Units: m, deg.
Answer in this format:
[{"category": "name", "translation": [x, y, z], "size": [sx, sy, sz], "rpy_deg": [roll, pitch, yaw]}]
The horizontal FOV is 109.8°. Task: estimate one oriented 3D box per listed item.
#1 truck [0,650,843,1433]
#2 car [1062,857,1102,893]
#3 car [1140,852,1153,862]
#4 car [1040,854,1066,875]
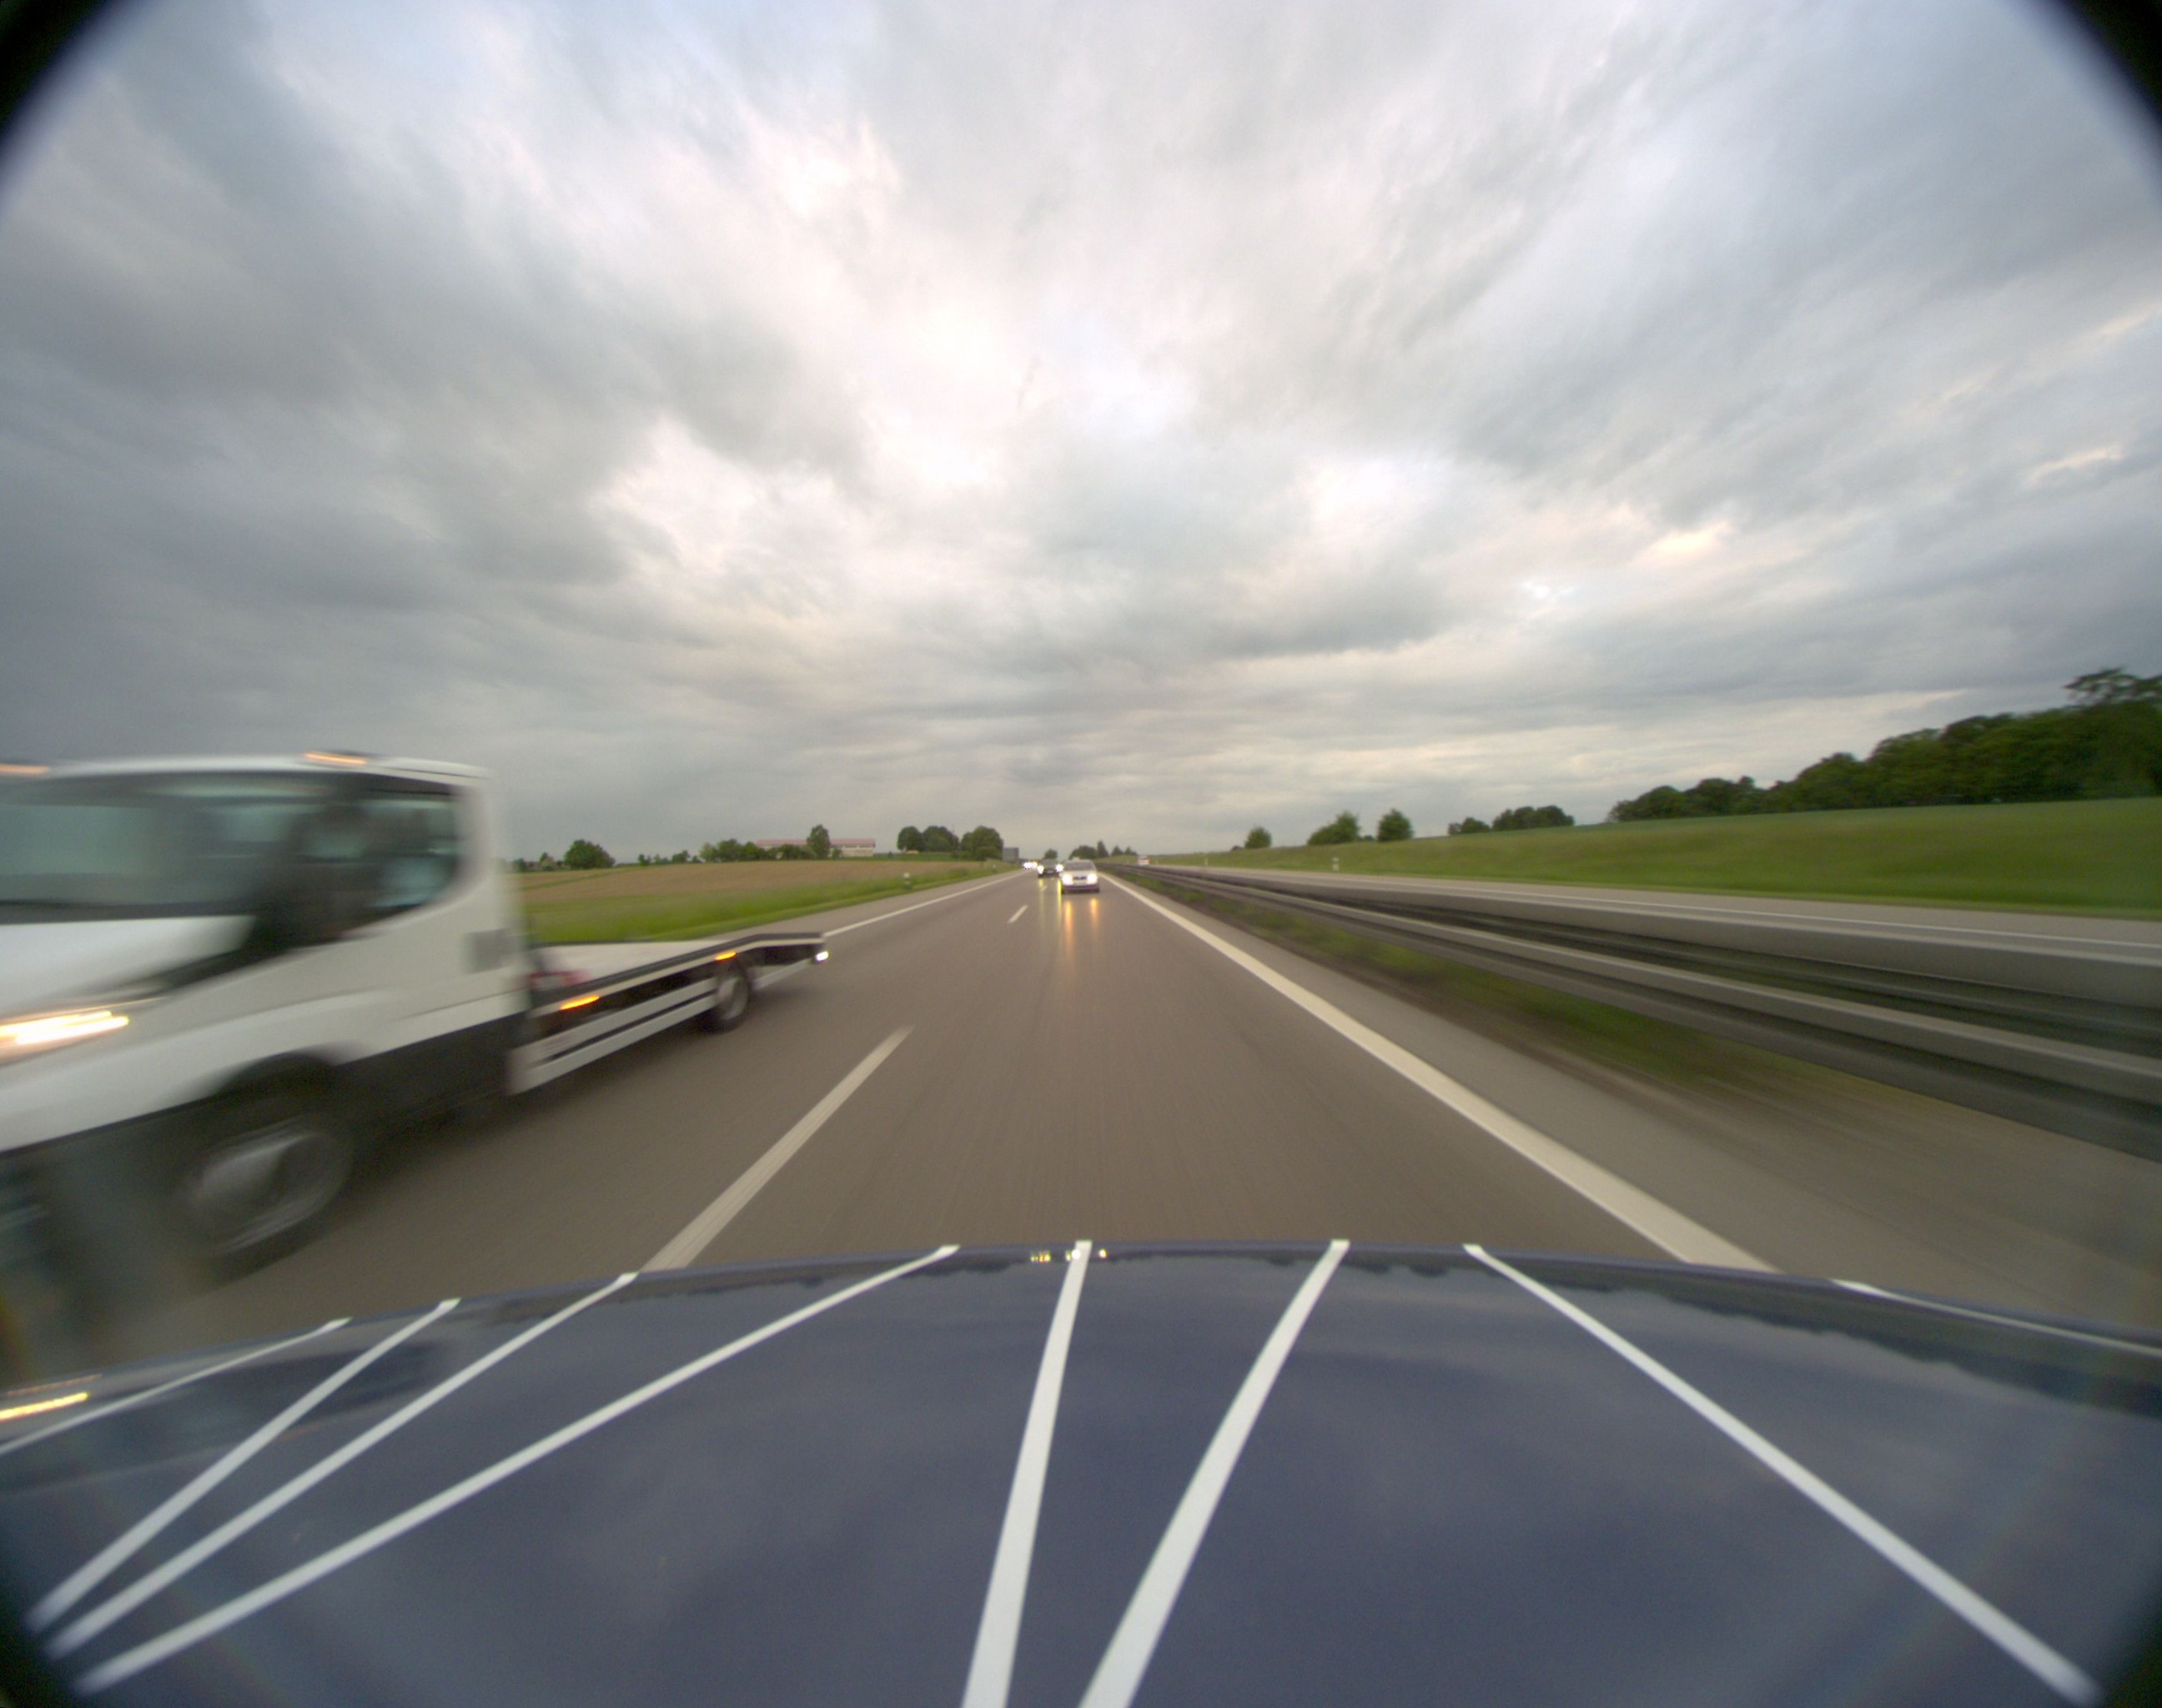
[{"category": "truck", "translation": [-4.257, 0.617, 6.117], "size": [2.177, 2.346, 7.696], "rpy_deg": [-3, 0, 0]}, {"category": "car", "translation": [0.055, 0.870, 32.904], "size": [1.592, 1.381, 4.601], "rpy_deg": [0, 1, 0]}, {"category": "car", "translation": [11.572, 0.520, 134.775], "size": [1.765, 1.791, 4.994], "rpy_deg": [-1, 0, -1]}, {"category": "car", "translation": [-2.232, 0.825, 62.229], "size": [1.951, 1.620, 4.535], "rpy_deg": [-1, 0, 0]}]
